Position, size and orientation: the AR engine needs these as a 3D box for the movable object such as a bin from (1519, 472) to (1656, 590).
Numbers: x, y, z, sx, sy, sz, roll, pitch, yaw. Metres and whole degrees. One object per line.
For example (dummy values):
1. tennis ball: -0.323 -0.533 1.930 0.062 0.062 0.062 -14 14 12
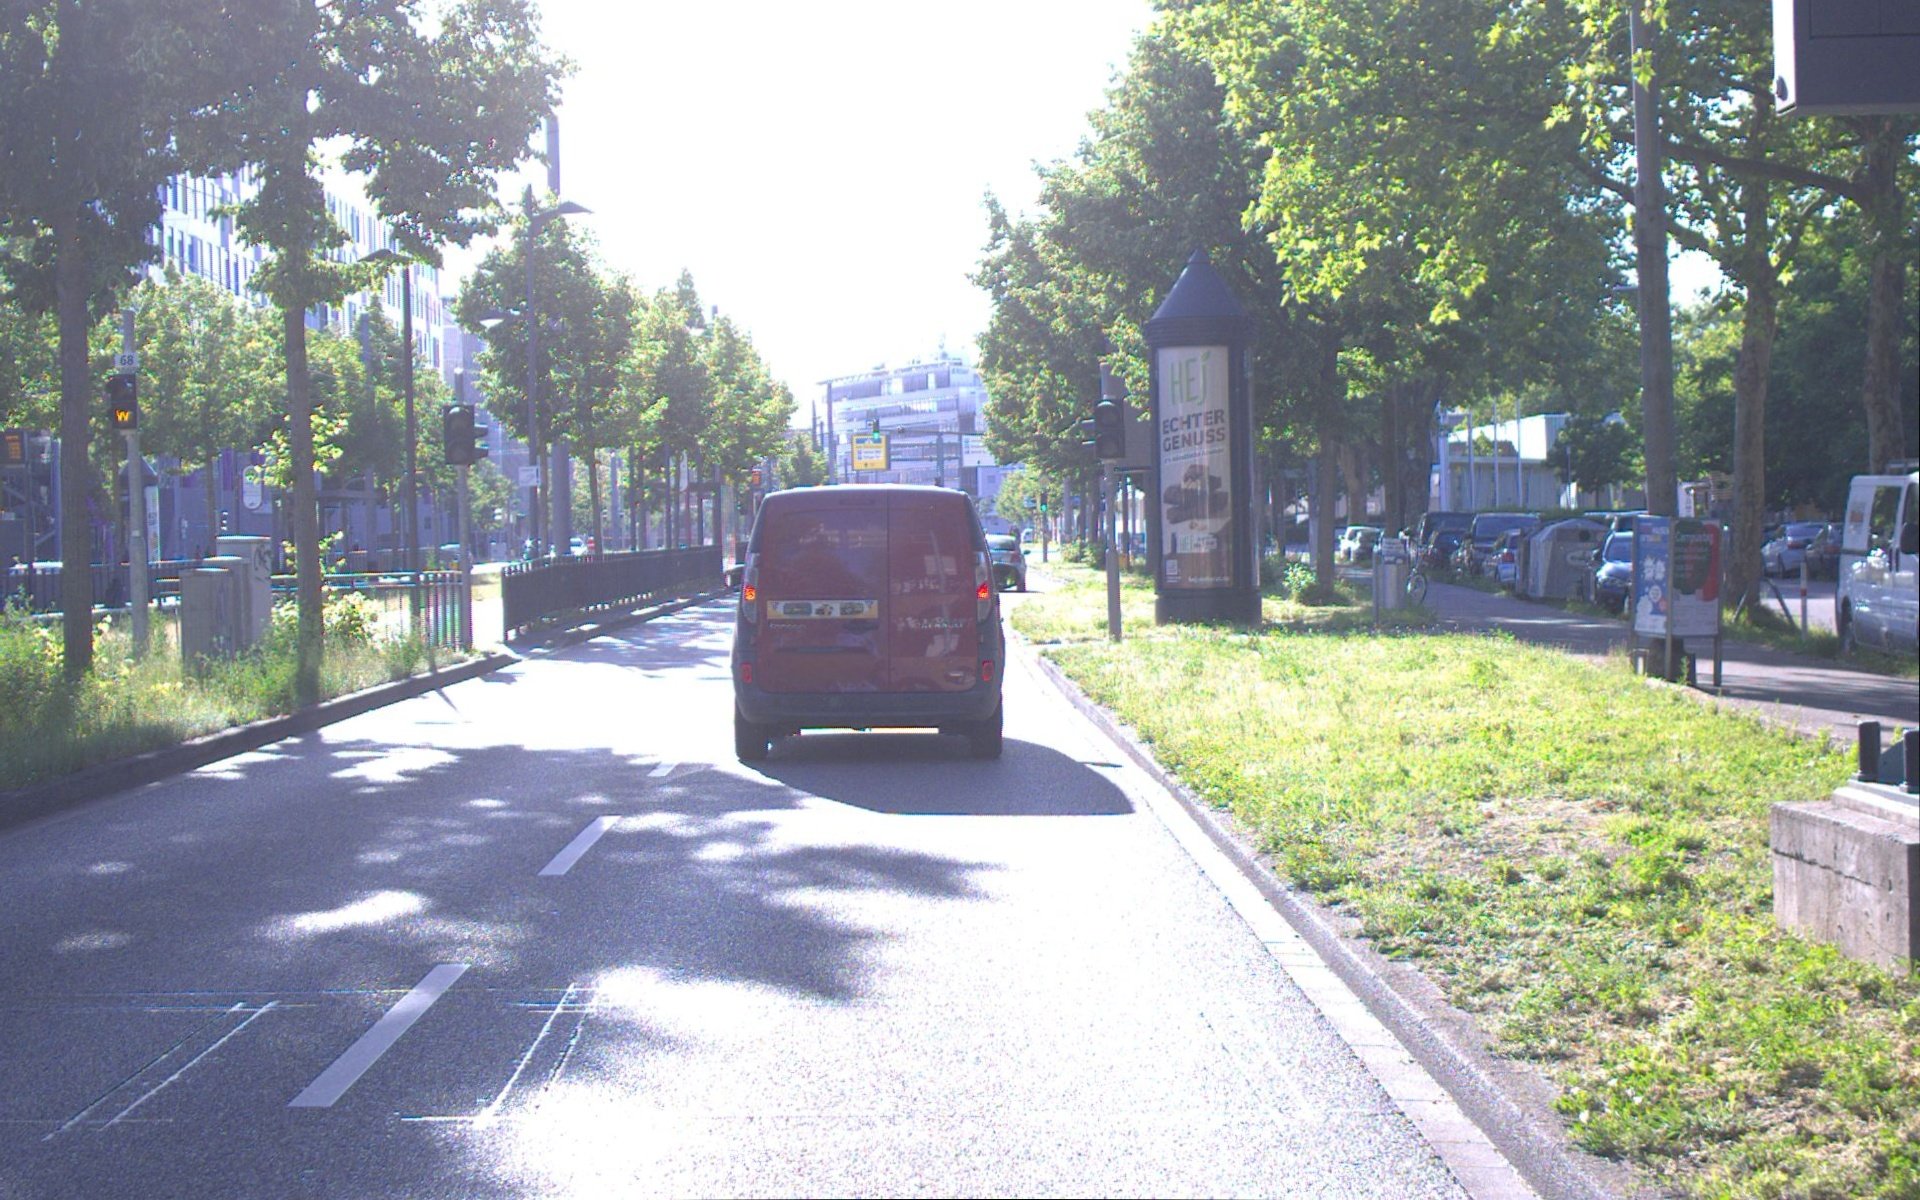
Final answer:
1. movable object such as a bin: 10.893 -1.195 59.817 2.081 2.007 2.136 1 1 4

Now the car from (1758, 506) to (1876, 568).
1. car: 22.080 -1.606 88.764 1.871 1.478 4.690 -3 1 1

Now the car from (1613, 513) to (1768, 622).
1. car: 10.410 -0.464 49.162 1.662 1.495 2.989 1 1 2

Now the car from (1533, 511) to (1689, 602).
1. car: 10.390 -0.705 55.141 2.000 1.380 4.744 1 1 5

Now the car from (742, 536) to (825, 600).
1. car: -4.613 -0.844 90.329 1.993 1.612 4.000 1 1 0

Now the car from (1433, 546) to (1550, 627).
1. car: 12.229 -0.335 79.361 1.871 1.814 4.893 0 1 -1

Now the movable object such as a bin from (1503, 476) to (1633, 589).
1. movable object such as a bin: 11.045 -1.221 62.580 2.081 2.007 2.136 1 1 4

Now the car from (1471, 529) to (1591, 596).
1. car: 12.208 -0.807 73.735 1.871 1.384 4.000 1 1 -1

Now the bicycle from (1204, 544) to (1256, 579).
1. bicycle: 10.049 -1.437 127.918 1.918 1.264 0.479 -1 1 1

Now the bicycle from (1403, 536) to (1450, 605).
1. bicycle: 7.224 -0.457 53.266 0.493 1.043 1.904 1 1 1

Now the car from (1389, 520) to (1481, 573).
1. car: 12.672 -1.423 91.889 1.871 1.363 4.000 1 1 -1

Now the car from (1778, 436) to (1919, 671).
1. car: 9.331 -0.423 31.827 2.190 2.007 5.820 1 1 1

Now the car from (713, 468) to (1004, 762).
1. car: -0.750 0.069 23.587 1.808 1.831 4.001 0 1 -3

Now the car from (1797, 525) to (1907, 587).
1. car: 21.612 -1.072 83.429 1.731 1.366 4.312 -3 0 4
